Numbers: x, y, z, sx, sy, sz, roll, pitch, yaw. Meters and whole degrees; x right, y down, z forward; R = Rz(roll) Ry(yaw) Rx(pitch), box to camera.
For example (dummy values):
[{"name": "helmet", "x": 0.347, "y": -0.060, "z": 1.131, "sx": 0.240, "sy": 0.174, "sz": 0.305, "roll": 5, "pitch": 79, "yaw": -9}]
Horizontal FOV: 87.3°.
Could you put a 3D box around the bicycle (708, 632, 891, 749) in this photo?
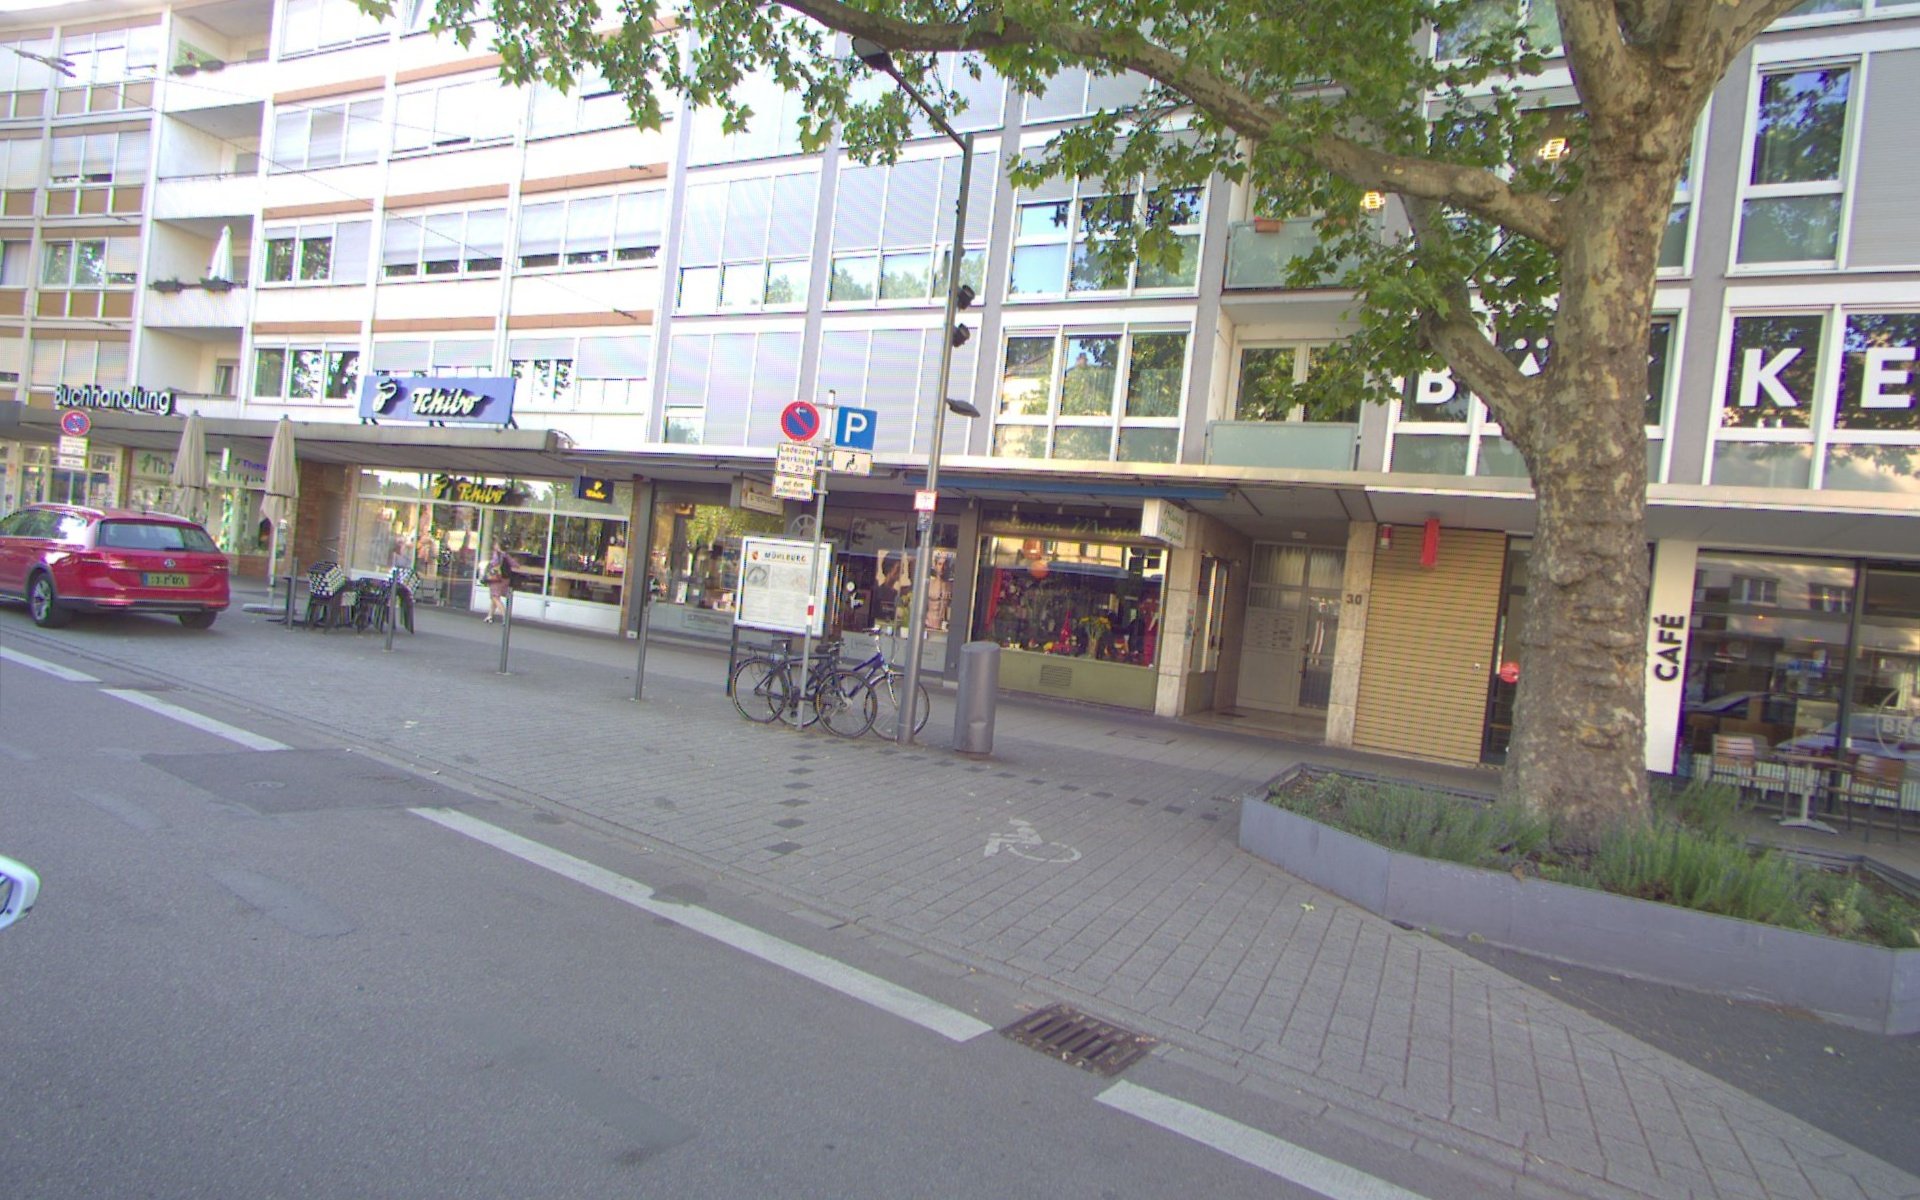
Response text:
[{"name": "bicycle", "x": -1.632, "y": 0.902, "z": 10.225, "sx": 1.743, "sy": 0.951, "sz": 0.391, "roll": 6, "pitch": 2, "yaw": 12}]

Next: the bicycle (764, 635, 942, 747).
[{"name": "bicycle", "x": -1.119, "y": 0.931, "z": 10.546, "sx": 1.743, "sy": 0.931, "sz": 0.391, "roll": 6, "pitch": 2, "yaw": 12}]

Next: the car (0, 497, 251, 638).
[{"name": "car", "x": -11.638, "y": -0.487, "z": 13.442, "sx": 4.229, "sy": 1.502, "sz": 1.772, "roll": 6, "pitch": 1, "yaw": 28}]

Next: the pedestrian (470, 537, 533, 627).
[{"name": "pedestrian", "x": -8.716, "y": -0.339, "z": 19.118, "sx": 0.776, "sy": 1.613, "sz": 0.651, "roll": 7, "pitch": 3, "yaw": 26}]
